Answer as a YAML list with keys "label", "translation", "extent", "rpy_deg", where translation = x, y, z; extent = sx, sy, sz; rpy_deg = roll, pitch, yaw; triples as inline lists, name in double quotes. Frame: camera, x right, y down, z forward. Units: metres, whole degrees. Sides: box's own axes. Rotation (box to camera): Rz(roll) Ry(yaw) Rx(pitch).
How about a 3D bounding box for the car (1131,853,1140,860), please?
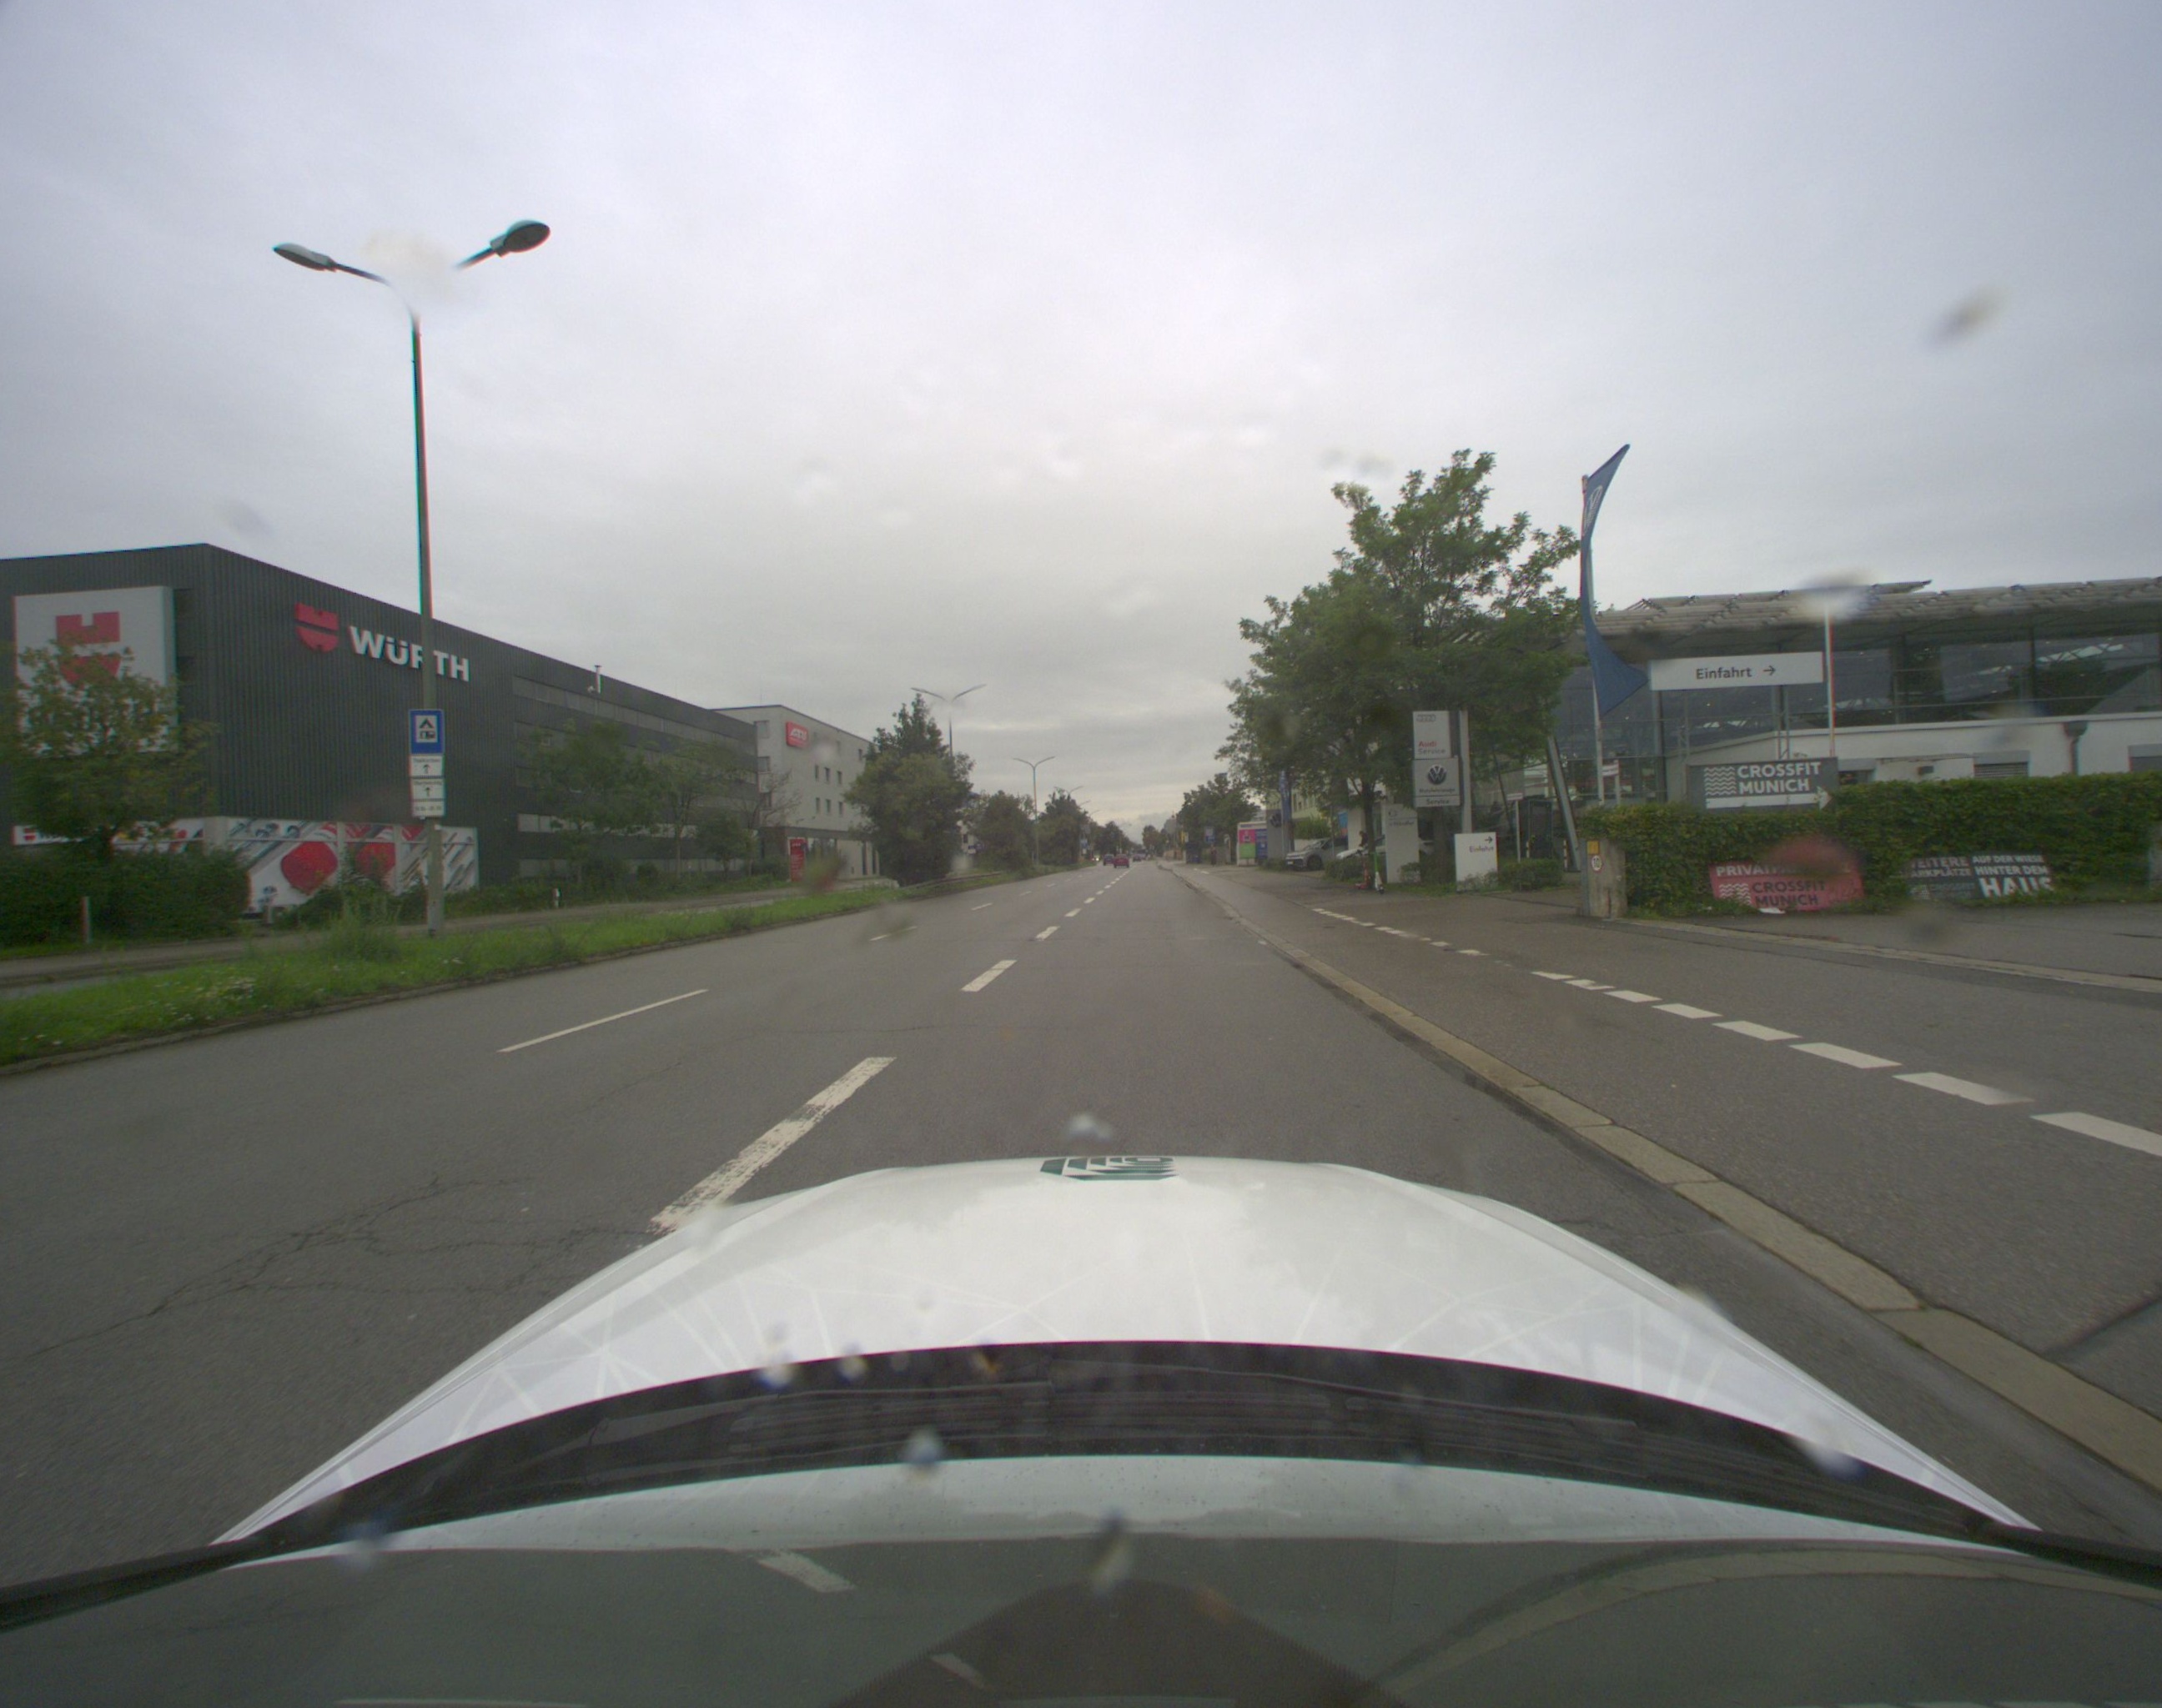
- label: "car"
  translation: [11.778, 0.450, 176.331]
  extent: [1.796, 1.433, 4.003]
  rpy_deg: [-2, -1, 3]

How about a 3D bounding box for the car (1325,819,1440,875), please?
- label: "car"
  translation: [12.827, -0.261, 34.630]
  extent: [4.207, 2.014, 1.975]
  rpy_deg: [-5, -2, 28]

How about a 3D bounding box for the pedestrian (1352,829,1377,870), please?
- label: "pedestrian"
  translation: [12.756, -0.198, 36.646]
  extent: [0.811, 1.776, 0.708]
  rpy_deg: [-1, -1, -40]

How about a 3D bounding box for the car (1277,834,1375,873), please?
- label: "car"
  translation: [13.061, -0.018, 43.484]
  extent: [4.600, 1.706, 1.996]
  rpy_deg: [-4, -2, -17]

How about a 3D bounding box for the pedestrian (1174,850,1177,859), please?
- label: "pedestrian"
  translation: [17.947, 0.098, 154.942]
  extent: [0.481, 1.636, 0.591]
  rpy_deg: [-2, -1, 5]

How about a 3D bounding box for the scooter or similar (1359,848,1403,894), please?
- label: "scooter or similar"
  translation: [8.490, 0.479, 23.083]
  extent: [0.495, 1.205, 1.427]
  rpy_deg: [-5, -1, -5]

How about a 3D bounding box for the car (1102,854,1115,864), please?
- label: "car"
  translation: [4.285, 0.812, 126.774]
  extent: [1.796, 1.432, 4.003]
  rpy_deg: [-2, -1, 3]

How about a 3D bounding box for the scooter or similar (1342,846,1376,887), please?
- label: "scooter or similar"
  translation: [8.632, 0.369, 25.344]
  extent: [0.494, 1.204, 1.430]
  rpy_deg: [-5, 0, 2]

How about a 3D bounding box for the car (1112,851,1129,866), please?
- label: "car"
  translation: [4.812, 0.559, 98.544]
  extent: [1.853, 1.618, 4.005]
  rpy_deg: [-2, -1, 4]

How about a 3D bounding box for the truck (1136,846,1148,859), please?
- label: "truck"
  translation: [17.120, -0.370, 227.939]
  extent: [2.957, 3.285, 7.921]
  rpy_deg: [-2, -1, 3]

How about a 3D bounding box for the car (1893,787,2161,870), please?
- label: "car"
  translation: [21.656, -0.571, 18.588]
  extent: [4.246, 1.581, 1.862]
  rpy_deg: [-3, 0, 3]

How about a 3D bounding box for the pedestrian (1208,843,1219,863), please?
- label: "pedestrian"
  translation: [11.713, -0.091, 71.983]
  extent: [0.755, 1.728, 0.896]
  rpy_deg: [-6, -1, 3]
